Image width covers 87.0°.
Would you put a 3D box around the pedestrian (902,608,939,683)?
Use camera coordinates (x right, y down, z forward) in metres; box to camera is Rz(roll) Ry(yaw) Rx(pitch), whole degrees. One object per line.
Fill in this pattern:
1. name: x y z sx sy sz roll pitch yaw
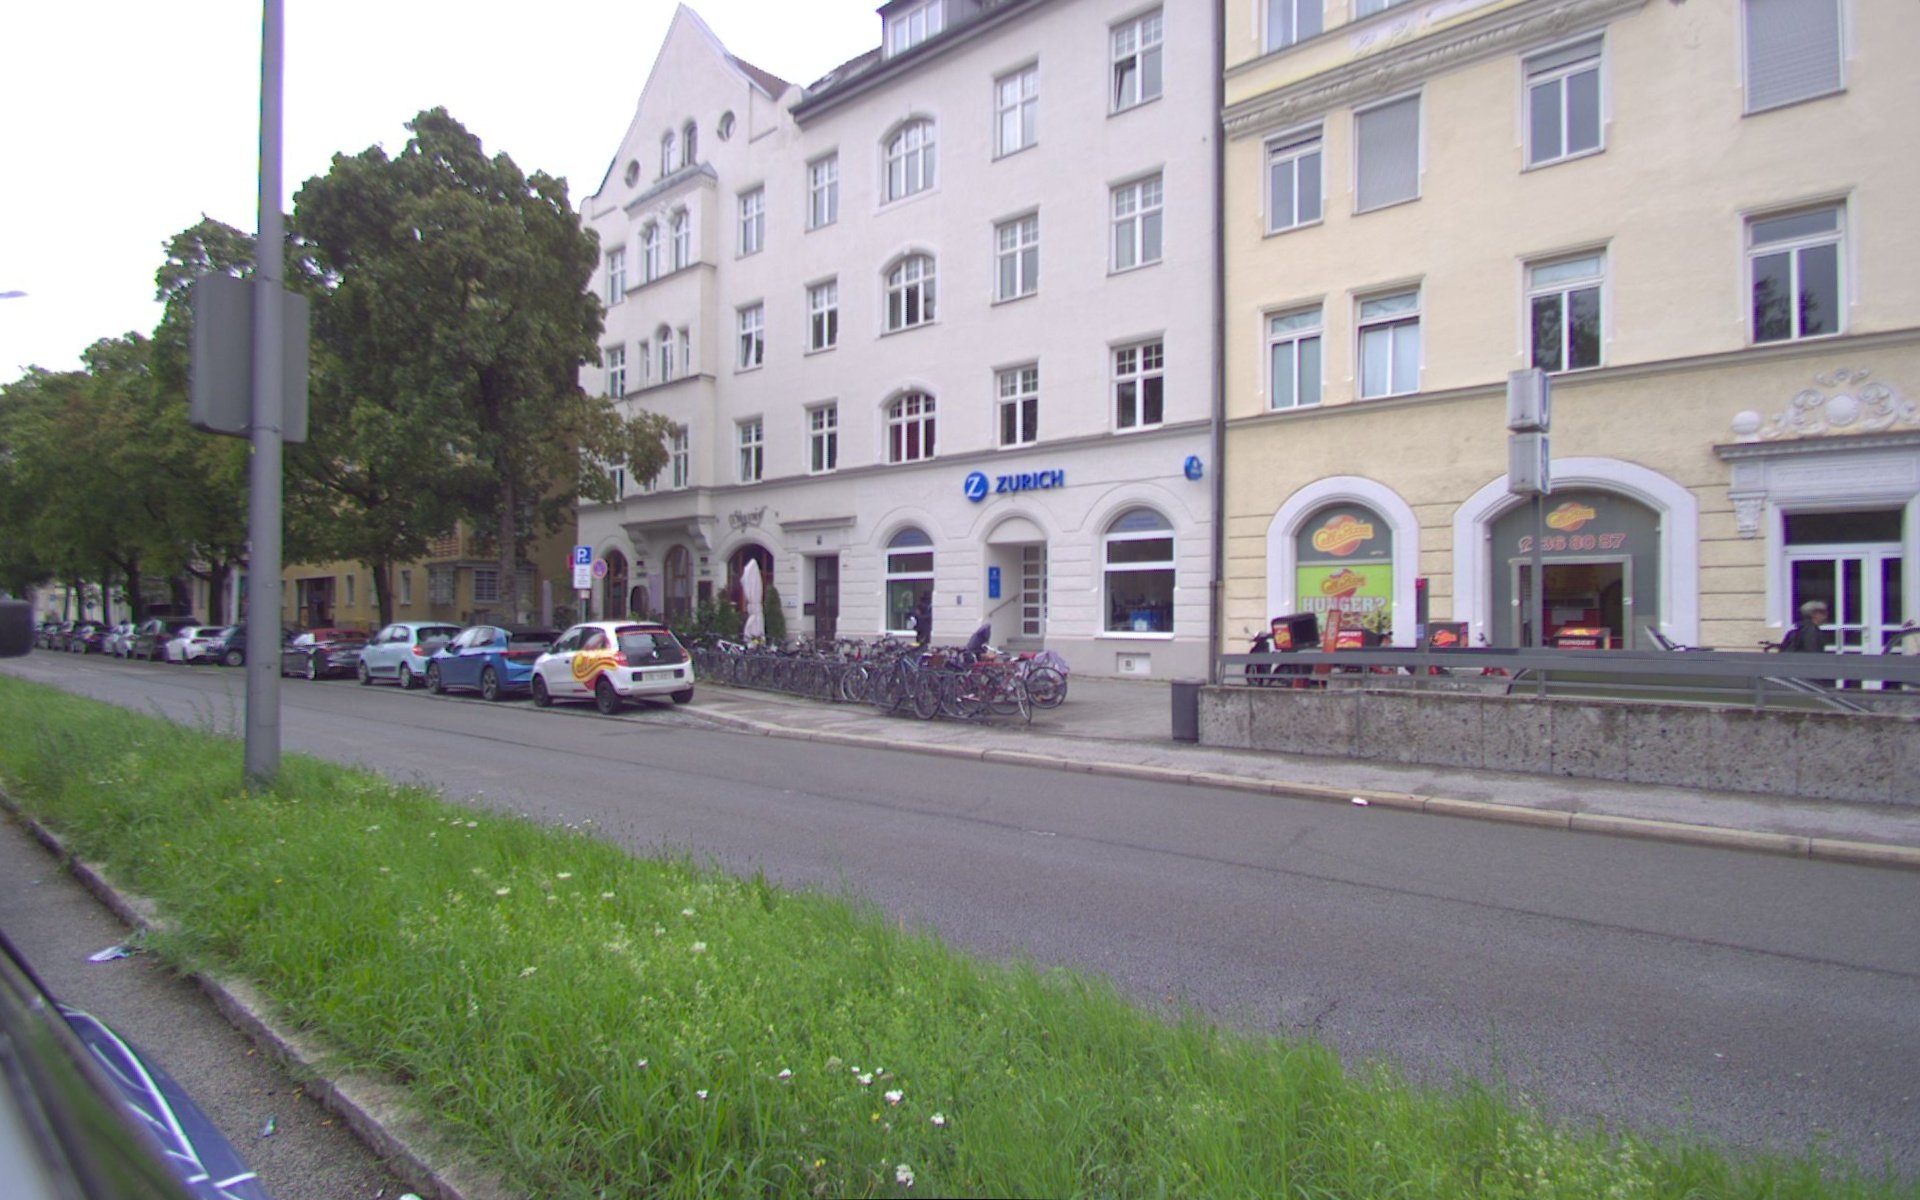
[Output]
1. pedestrian: -0.885 1.000 22.528 0.416 1.644 0.784 1 -2 -43

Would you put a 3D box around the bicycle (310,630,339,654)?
1. bicycle: -33.213 2.203 52.874 1.929 1.231 0.762 -1 -2 41

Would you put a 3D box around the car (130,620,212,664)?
1. car: -32.769 1.715 41.994 4.765 1.741 1.791 -1 -2 41

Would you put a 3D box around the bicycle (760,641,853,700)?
1. bicycle: -3.012 1.366 19.813 1.859 1.124 0.328 -1 -2 18

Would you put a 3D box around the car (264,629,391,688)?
1. car: -17.951 1.594 28.631 4.643 1.518 1.792 -1 -2 41

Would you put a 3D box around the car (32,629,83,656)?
1. car: -51.959 2.442 58.243 4.490 1.465 1.674 -1 -2 41

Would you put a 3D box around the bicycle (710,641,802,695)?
1. bicycle: -4.328 1.435 21.507 1.860 1.124 0.548 -1 -1 10

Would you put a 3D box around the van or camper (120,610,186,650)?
1. van or camper: -54.968 2.050 68.872 6.847 2.599 2.321 -1 -2 41

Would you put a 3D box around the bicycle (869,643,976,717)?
1. bicycle: -0.596 1.246 15.917 1.667 1.124 0.328 -1 -2 18

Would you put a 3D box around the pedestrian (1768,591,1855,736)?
1. pedestrian: 10.411 0.754 12.380 0.770 1.710 0.537 -2 -2 42

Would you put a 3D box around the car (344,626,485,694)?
1. car: -13.511 1.415 24.977 3.958 1.518 1.792 -1 -2 41

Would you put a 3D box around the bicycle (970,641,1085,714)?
1. bicycle: 1.072 1.216 16.146 1.799 1.124 0.394 -1 -2 18

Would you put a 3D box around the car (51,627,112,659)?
1. car: -47.412 2.274 54.577 4.768 1.658 1.859 -1 -2 41

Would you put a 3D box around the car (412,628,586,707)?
1. car: -9.952 1.368 21.720 4.289 1.518 1.792 -1 -2 41

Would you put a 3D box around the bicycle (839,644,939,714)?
1. bicycle: -1.200 1.309 16.985 1.667 1.124 0.328 -1 -2 18

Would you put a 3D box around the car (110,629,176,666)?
1. car: -36.209 2.073 44.849 3.007 1.569 1.710 -1 -2 39

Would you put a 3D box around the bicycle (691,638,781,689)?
1. bicycle: -5.026 1.420 22.693 1.944 1.124 0.457 -1 -1 10

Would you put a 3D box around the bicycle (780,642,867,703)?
1. bicycle: -2.607 1.361 19.244 1.667 1.124 0.328 -1 -2 18

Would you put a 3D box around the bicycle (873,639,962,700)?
1. bicycle: -0.814 1.294 19.164 1.667 1.124 0.328 -1 -2 18

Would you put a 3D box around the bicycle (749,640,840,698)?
1. bicycle: -3.333 1.368 20.331 1.859 1.124 0.328 -1 -2 18

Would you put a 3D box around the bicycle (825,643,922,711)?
1. bicycle: -1.498 1.318 17.476 1.667 1.124 0.380 -1 -2 18

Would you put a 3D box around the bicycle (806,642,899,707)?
1. bicycle: -1.926 1.321 18.095 1.667 1.124 0.328 -1 -2 18

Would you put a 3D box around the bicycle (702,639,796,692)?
1. bicycle: -4.614 1.432 22.127 1.966 1.124 0.503 -1 -1 10

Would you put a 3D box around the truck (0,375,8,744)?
1. truck: -6.403 0.384 5.000 5.148 2.508 1.973 -1 -2 41

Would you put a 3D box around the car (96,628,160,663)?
1. car: -39.109 2.103 47.543 4.055 1.573 1.709 -1 -2 41

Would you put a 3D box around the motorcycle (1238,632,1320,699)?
1. motorcycle: 5.869 1.179 18.740 0.600 1.139 1.991 0 -1 -9

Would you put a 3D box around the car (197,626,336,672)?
1. car: -25.191 1.746 36.834 1.730 1.475 3.851 -1 -1 39

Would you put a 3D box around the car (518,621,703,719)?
1. car: -6.467 1.198 18.558 3.790 1.597 1.631 -1 -2 43

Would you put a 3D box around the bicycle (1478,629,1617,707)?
1. bicycle: 7.878 0.883 13.609 1.544 0.988 0.468 -1 -2 41

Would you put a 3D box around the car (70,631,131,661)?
1. car: -43.167 2.260 50.779 4.361 1.416 1.709 -1 -2 41

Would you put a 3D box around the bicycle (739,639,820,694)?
1. bicycle: -3.736 1.371 20.942 1.664 1.124 0.329 -1 -2 14

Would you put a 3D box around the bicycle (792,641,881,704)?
1. bicycle: -2.285 1.327 18.703 1.667 1.124 0.328 -1 -2 18

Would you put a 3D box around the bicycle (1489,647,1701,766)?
1. bicycle: 6.510 1.062 10.462 1.808 1.124 0.392 -1 -2 33

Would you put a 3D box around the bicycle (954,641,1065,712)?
1. bicycle: 0.814 1.250 16.700 1.799 1.124 0.394 -1 -2 18

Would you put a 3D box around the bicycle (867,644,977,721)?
1. bicycle: -0.585 1.249 15.501 1.667 1.124 0.366 -1 -2 18

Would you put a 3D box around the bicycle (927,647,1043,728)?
1. bicycle: 0.355 1.249 14.683 1.667 1.124 0.328 -1 -2 18

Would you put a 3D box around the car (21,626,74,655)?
1. car: -55.744 2.469 61.797 4.436 1.699 1.854 -1 -2 41

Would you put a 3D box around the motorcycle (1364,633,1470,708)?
1. motorcycle: 7.560 1.141 16.861 0.600 1.130 1.991 0 -1 -9

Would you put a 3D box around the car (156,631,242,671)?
1. car: -28.719 1.876 38.131 4.401 1.413 1.708 -1 -2 41

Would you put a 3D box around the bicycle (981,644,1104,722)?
1. bicycle: 1.227 1.220 15.145 1.799 1.124 0.394 -1 -2 18

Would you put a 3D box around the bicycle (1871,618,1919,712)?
1. bicycle: 10.651 0.686 10.658 1.544 0.988 0.468 -1 -2 41

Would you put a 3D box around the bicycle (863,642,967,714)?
1. bicycle: -0.734 1.250 16.384 1.667 1.124 0.365 -1 -2 18
